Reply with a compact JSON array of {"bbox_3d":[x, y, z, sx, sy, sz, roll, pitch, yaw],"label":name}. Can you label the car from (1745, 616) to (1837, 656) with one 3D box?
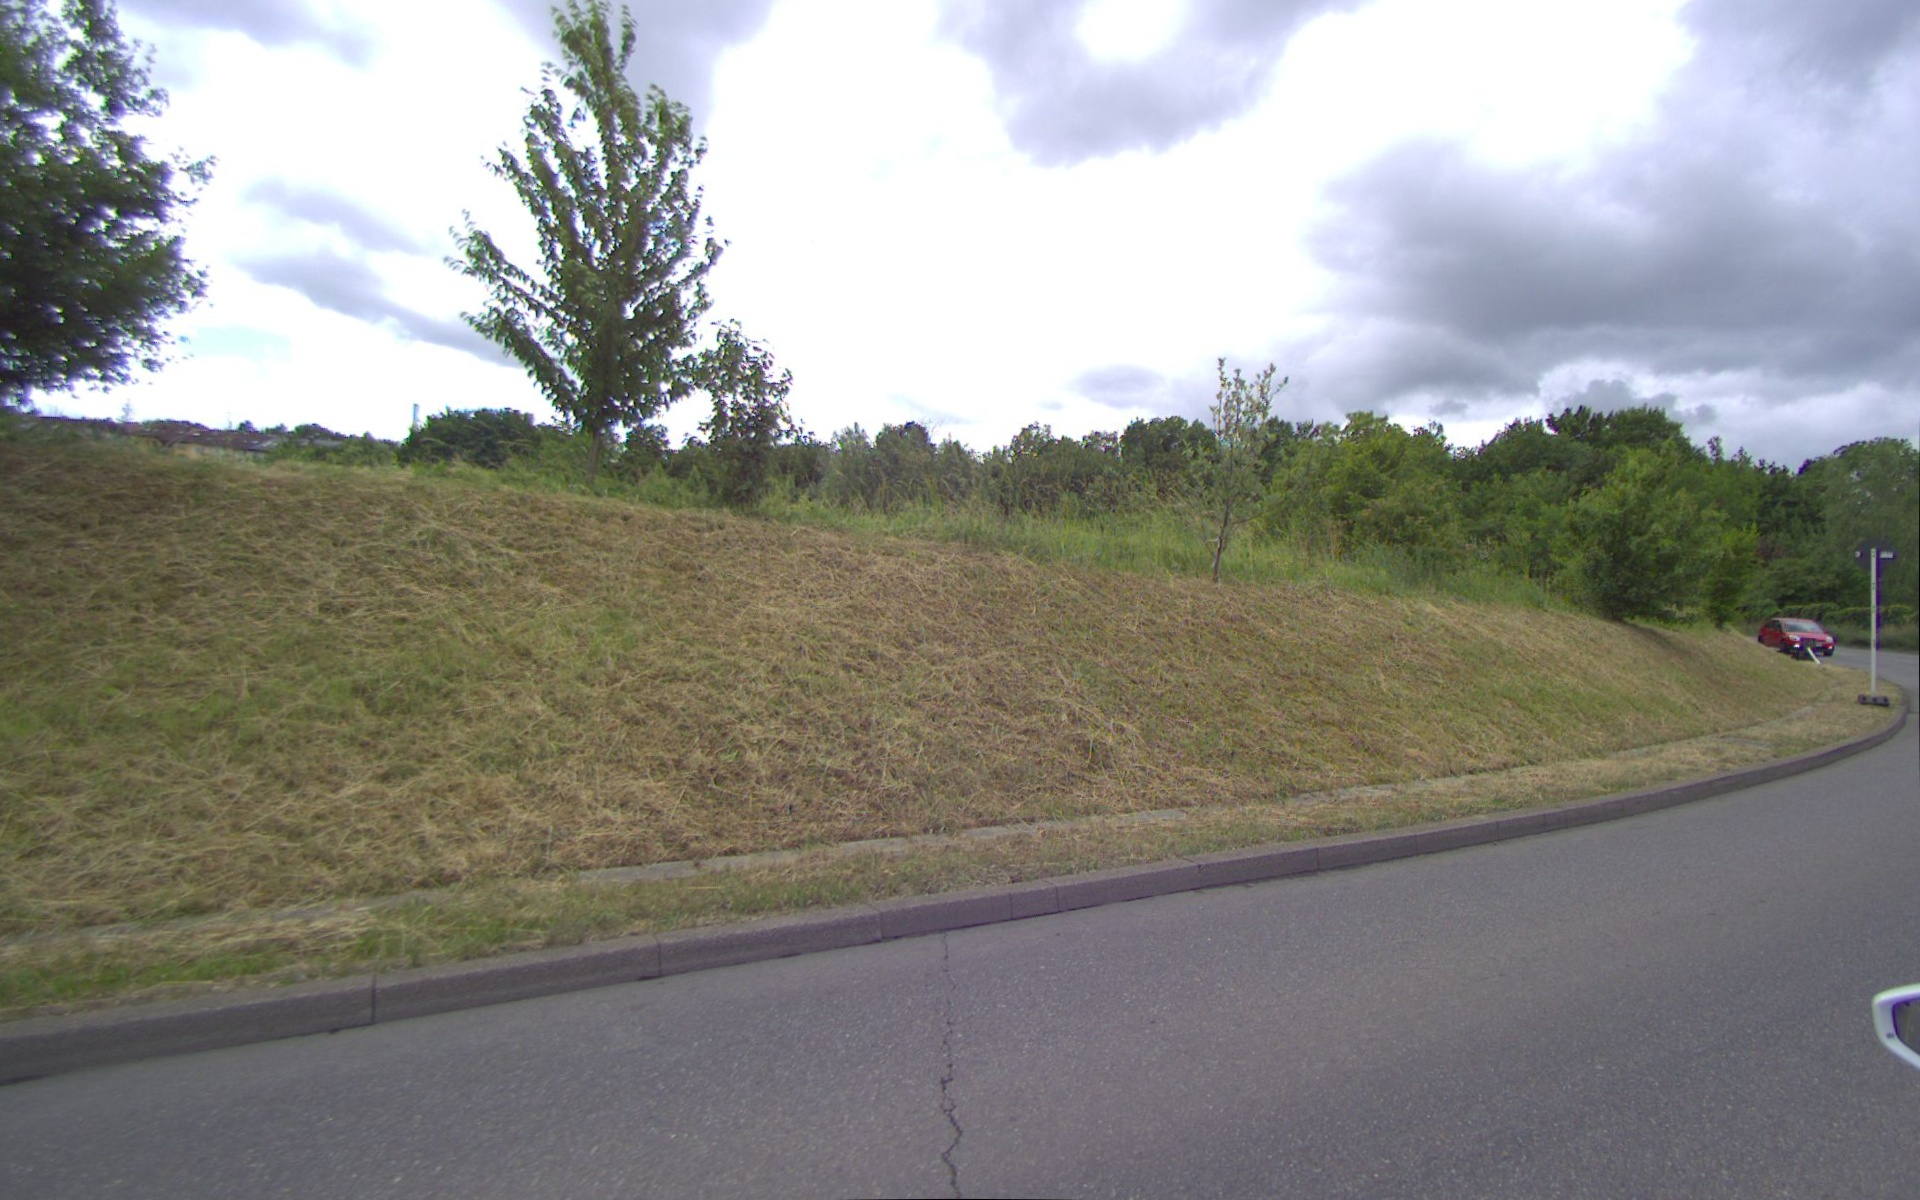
[{"bbox_3d":[35.610,1.517,43.141,1.713,1.434,3.754,8,1,20],"label":"car"}]
